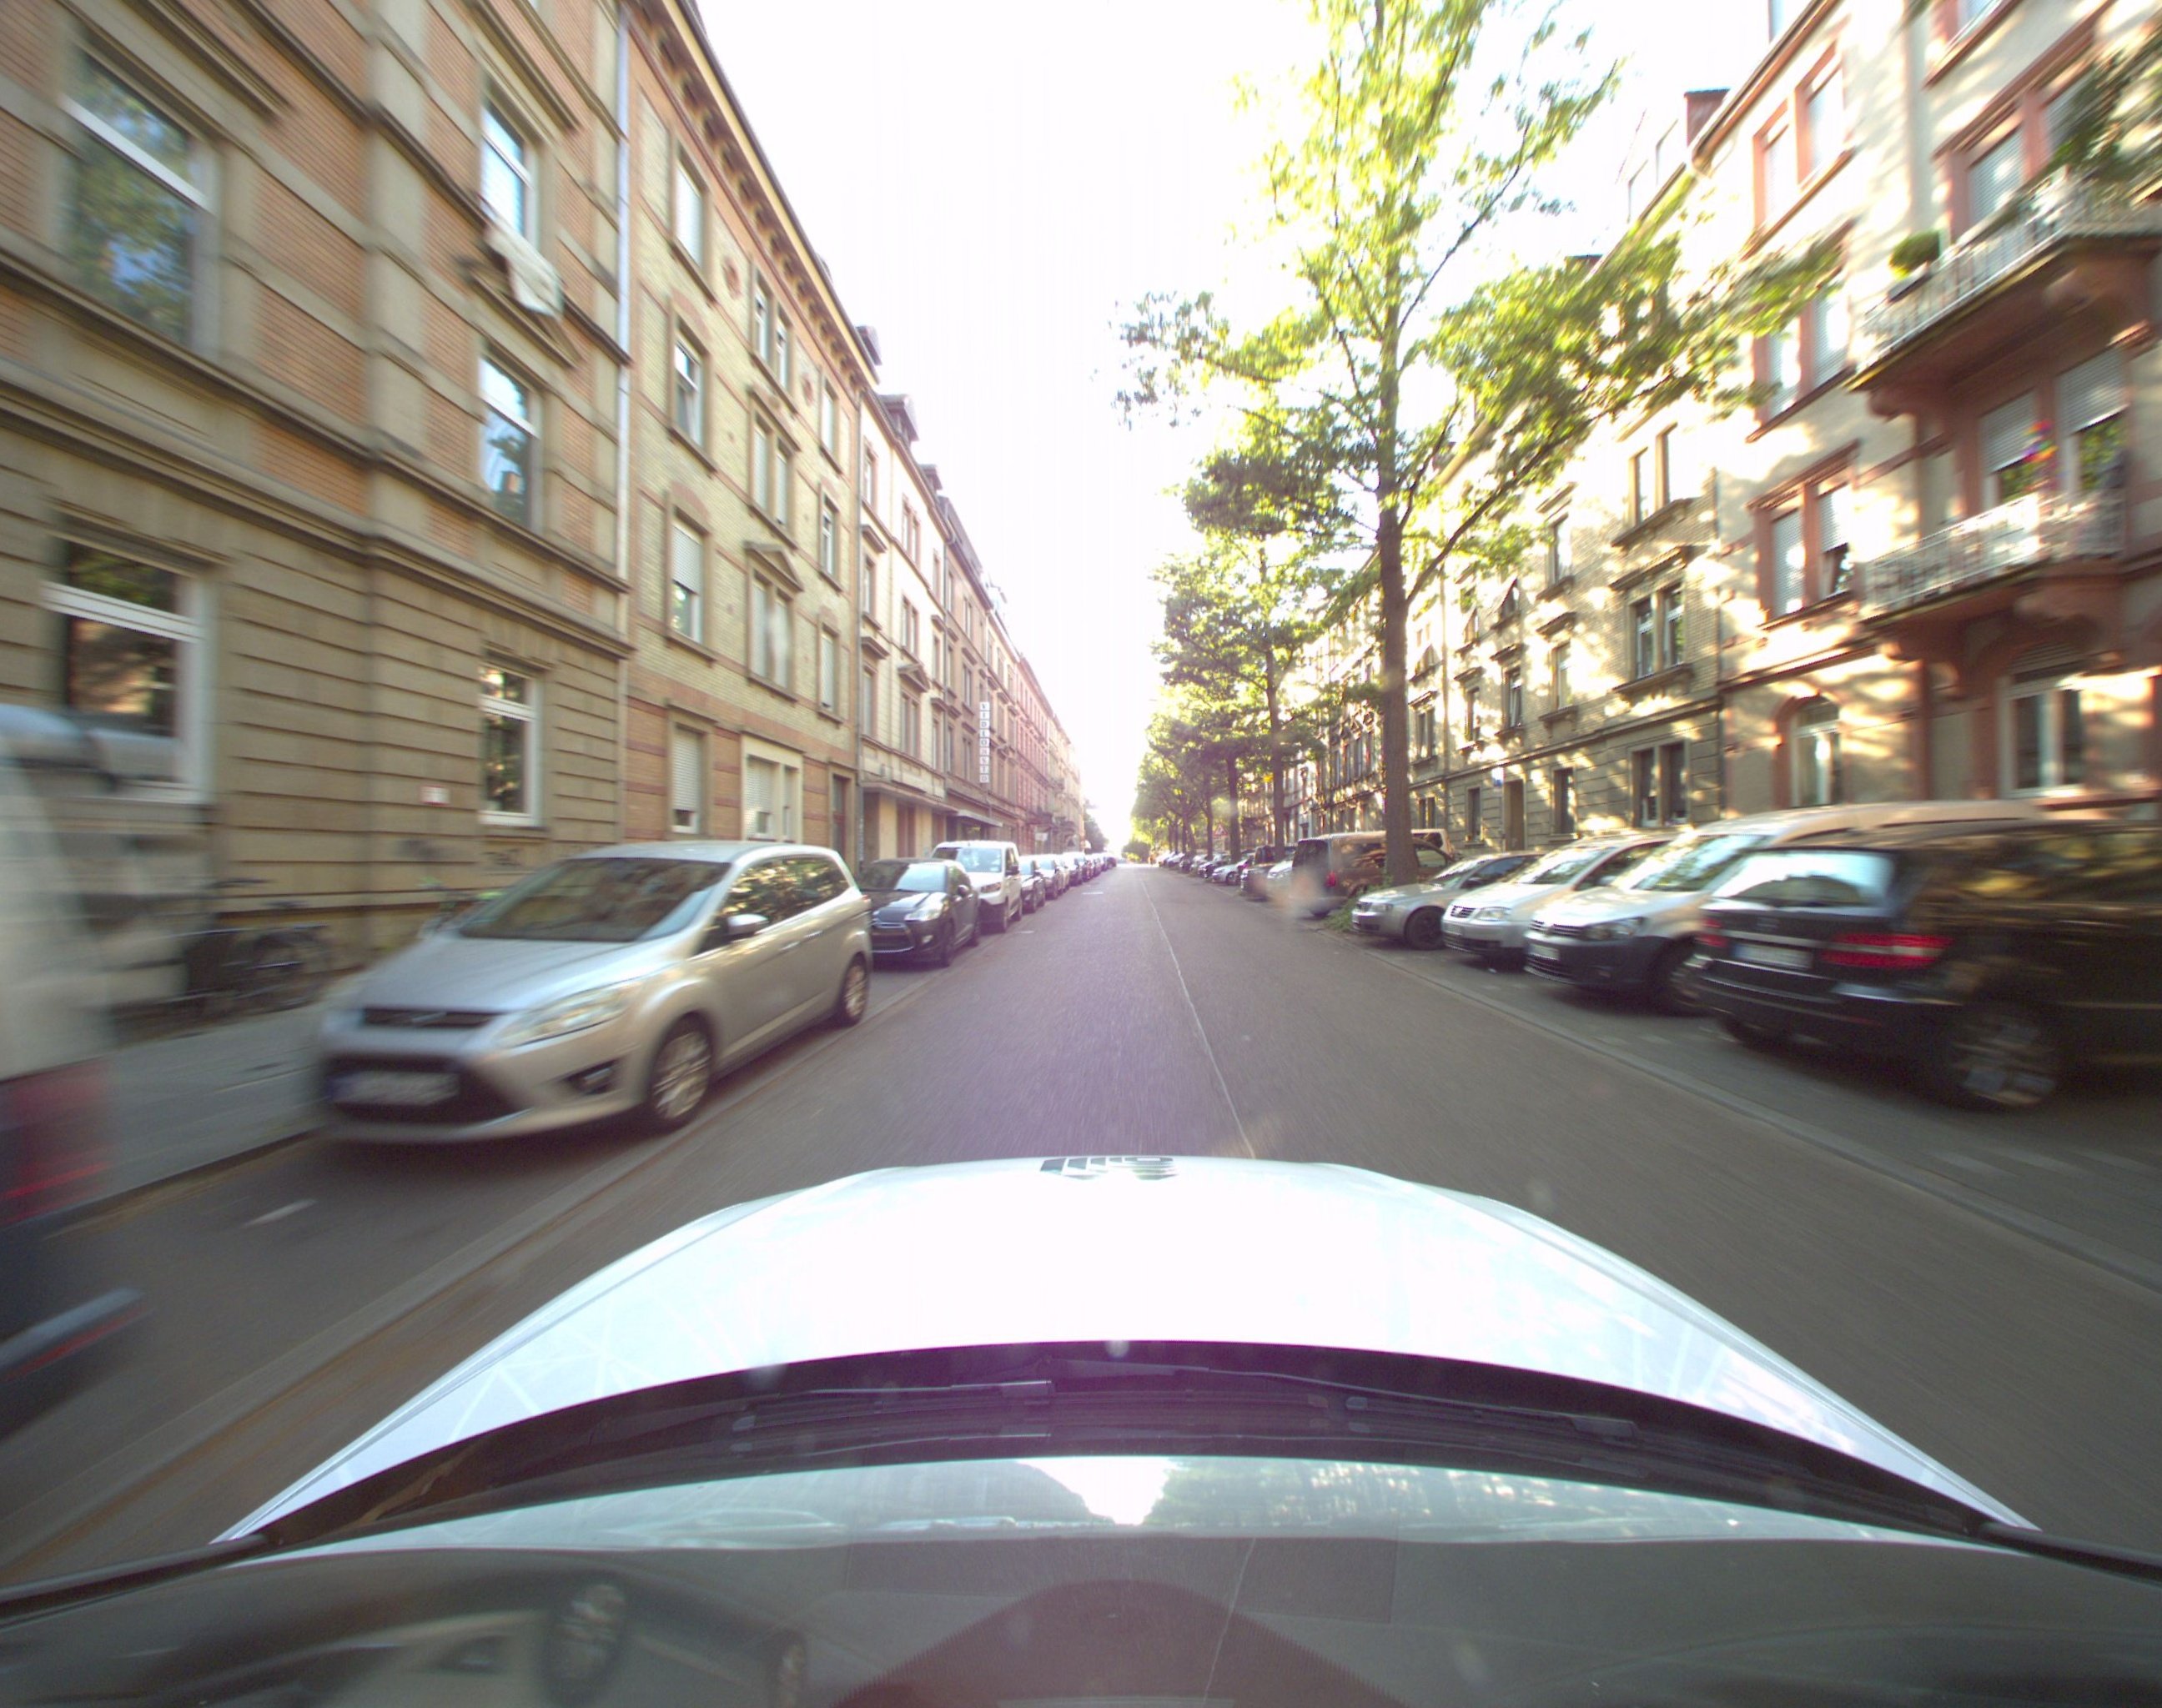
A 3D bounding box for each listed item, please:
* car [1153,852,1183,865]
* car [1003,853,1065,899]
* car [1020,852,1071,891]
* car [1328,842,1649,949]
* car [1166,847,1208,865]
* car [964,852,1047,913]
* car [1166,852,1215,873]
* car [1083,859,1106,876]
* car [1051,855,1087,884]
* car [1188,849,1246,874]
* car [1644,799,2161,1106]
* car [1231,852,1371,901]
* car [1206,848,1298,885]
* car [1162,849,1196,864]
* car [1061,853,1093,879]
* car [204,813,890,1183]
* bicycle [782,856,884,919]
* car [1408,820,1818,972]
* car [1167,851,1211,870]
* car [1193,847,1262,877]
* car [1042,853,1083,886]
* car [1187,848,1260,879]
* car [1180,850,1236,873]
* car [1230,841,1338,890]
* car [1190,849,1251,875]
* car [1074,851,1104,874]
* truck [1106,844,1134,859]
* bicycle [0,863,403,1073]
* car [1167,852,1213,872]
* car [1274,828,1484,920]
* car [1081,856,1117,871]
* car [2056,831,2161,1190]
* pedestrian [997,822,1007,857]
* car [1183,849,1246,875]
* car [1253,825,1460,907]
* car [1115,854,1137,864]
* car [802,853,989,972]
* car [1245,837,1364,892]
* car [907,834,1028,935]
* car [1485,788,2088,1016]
[{"bbox_3d":[11.739,0.571,109.946,3.835,1.574,1.719,-3,0,2],"label":"car"},{"bbox_3d":[-1.574,0.717,28.512,1.752,1.473,4.061,-1,0,2],"label":"car"},{"bbox_3d":[-1.383,0.686,33.382,1.752,1.473,4.061,-1,0,2],"label":"car"},{"bbox_3d":[6.356,0.617,13.048,4.209,1.403,1.834,-3,0,-2],"label":"car"},{"bbox_3d":[10.367,0.224,79.645,3.835,1.574,1.719,-3,0,2],"label":"car"},{"bbox_3d":[-1.966,0.714,22.305,1.752,1.473,4.061,-1,0,2],"label":"car"},{"bbox_3d":[8.932,0.688,66.872,3.834,1.574,1.719,-3,0,3],"label":"car"},{"bbox_3d":[1.307,1.264,77.000,1.986,1.486,4.002,-1,-2,2],"label":"car"},{"bbox_3d":[-0.614,0.801,44.384,1.752,1.473,4.061,-1,0,2],"label":"car"},{"bbox_3d":[9.963,0.540,59.846,3.844,1.574,1.715,-3,0,-5],"label":"car"},{"bbox_3d":[6.284,0.501,5.271,3.994,1.607,1.735,-3,-1,2],"label":"car"},{"bbox_3d":[6.751,0.670,25.287,3.838,1.294,1.717,-3,0,-1],"label":"car"},{"bbox_3d":[7.848,0.570,37.592,3.838,1.479,1.717,-3,0,-1],"label":"car"},{"bbox_3d":[11.619,0.341,96.930,3.835,1.574,1.719,-3,0,2],"label":"car"},{"bbox_3d":[-0.213,0.717,50.870,1.752,1.473,4.061,-1,0,2],"label":"car"},{"bbox_3d":[-2.933,0.639,5.850,1.745,1.608,4.389,1,0,5],"label":"car"},{"bbox_3d":[-5.824,0.725,19.501,1.037,1.318,4.003,0,0,3],"label":"bicycle"},{"bbox_3d":[6.768,0.487,10.649,4.213,1.611,1.832,-3,0,-5],"label":"car"},{"bbox_3d":[9.907,0.620,74.761,3.835,1.574,1.719,-3,0,2],"label":"car"},{"bbox_3d":[8.956,0.482,49.930,3.844,1.574,1.715,-3,0,-5],"label":"car"},{"bbox_3d":[-0.862,0.722,39.622,1.752,1.473,4.061,-1,0,2],"label":"car"},{"bbox_3d":[8.263,0.544,47.550,3.844,1.574,1.715,-3,0,-5],"label":"car"},{"bbox_3d":[9.607,0.577,61.901,3.844,1.574,1.715,-3,0,-5],"label":"car"},{"bbox_3d":[7.999,0.435,32.320,3.838,1.699,1.717,-3,0,-1],"label":"car"},{"bbox_3d":[9.797,0.551,57.237,3.844,1.574,1.715,-3,0,-5],"label":"car"},{"bbox_3d":[0.589,0.620,56.870,1.986,1.486,4.002,-1,-2,2],"label":"car"},{"bbox_3d":[10.457,-0.717,216.737,7.273,3.950,2.412,1,0,-34],"label":"truck"},{"bbox_3d":[-6.934,0.712,6.403,0.737,1.255,2.829,0,0,3],"label":"bicycle"},{"bbox_3d":[9.654,0.660,72.186,3.835,1.574,1.719,-3,0,2],"label":"car"},{"bbox_3d":[6.807,0.423,18.677,4.230,1.795,1.825,-3,0,-17],"label":"car"},{"bbox_3d":[1.934,1.028,87.329,1.974,1.486,4.025,-2,-2,35],"label":"car"},{"bbox_3d":[6.369,0.550,2.713,3.994,1.467,1.735,-3,-1,2],"label":"car"},{"bbox_3d":[-4.221,-0.765,43.590,0.497,1.861,0.463,0,0,2],"label":"pedestrian"},{"bbox_3d":[8.975,0.521,54.867,3.844,1.574,1.715,-3,0,-5],"label":"car"},{"bbox_3d":[7.440,0.320,22.391,5.036,1.925,1.836,-3,0,3],"label":"car"},{"bbox_3d":[8.555,0.943,155.998,3.961,1.859,1.756,0,0,11],"label":"car"},{"bbox_3d":[-2.586,0.739,12.329,1.752,1.467,4.002,1,0,2],"label":"car"},{"bbox_3d":[8.182,0.370,30.044,3.838,1.797,1.717,-3,0,-1],"label":"car"},{"bbox_3d":[-2.250,0.563,17.370,1.752,1.842,4.532,-1,0,2],"label":"car"},{"bbox_3d":[6.528,0.420,7.950,4.205,1.776,1.836,-3,0,2],"label":"car"}]
